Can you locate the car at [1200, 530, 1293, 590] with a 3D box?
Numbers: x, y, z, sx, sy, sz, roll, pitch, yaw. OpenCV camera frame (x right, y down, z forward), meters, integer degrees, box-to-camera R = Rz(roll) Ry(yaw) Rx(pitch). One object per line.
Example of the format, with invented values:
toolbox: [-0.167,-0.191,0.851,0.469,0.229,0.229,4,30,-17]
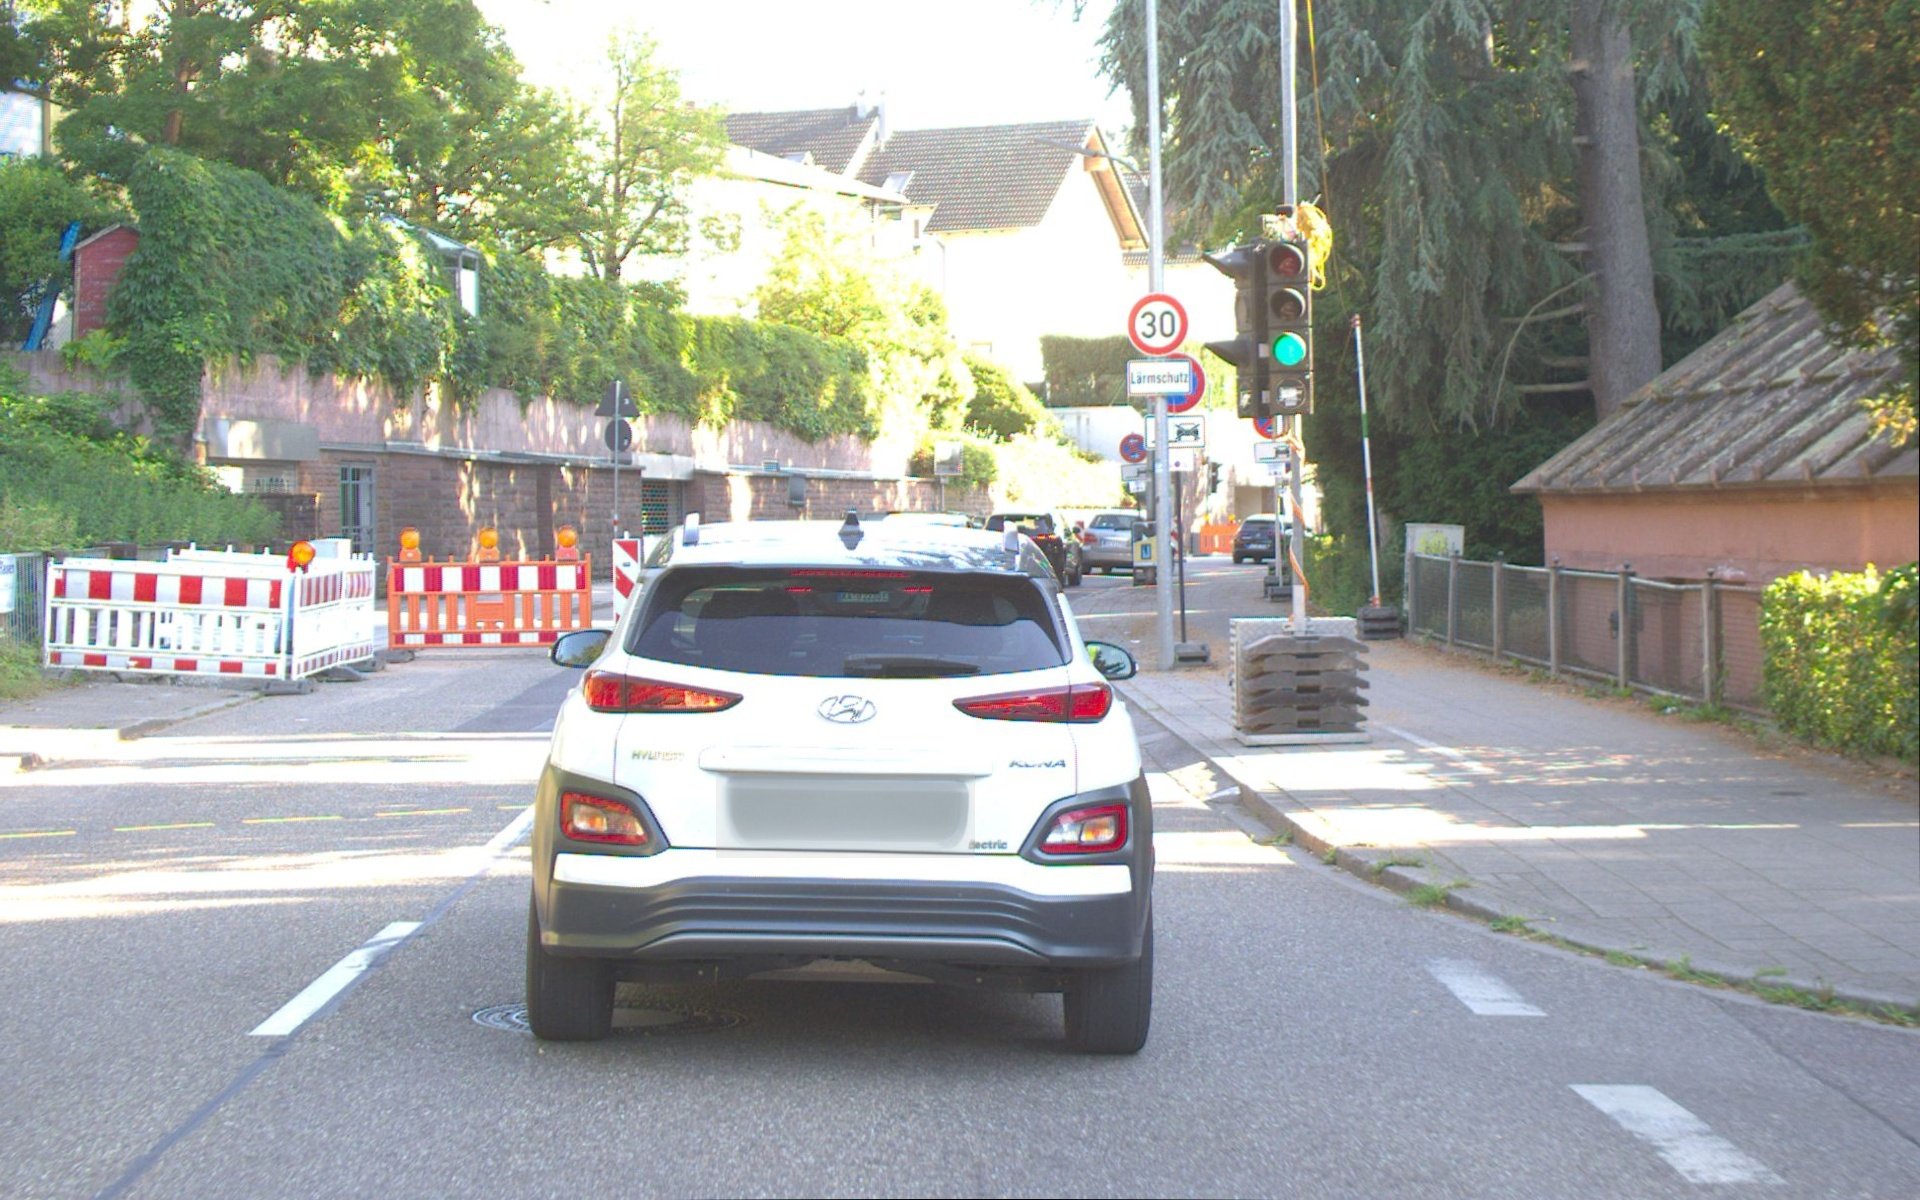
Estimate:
car: [8.385,-1.180,100.386,1.833,1.656,3.997,2,2,17]

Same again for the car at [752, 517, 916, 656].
car: [-1.403,-0.197,38.904,1.708,1.429,4.365,2,2,-2]

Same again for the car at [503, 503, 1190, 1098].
car: [-0.491,0.494,11.302,1.820,1.568,4.001,2,2,-5]

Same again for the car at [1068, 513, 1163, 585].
car: [3.826,-1.259,84.088,1.832,1.735,3.998,0,1,10]

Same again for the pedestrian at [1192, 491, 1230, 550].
pedestrian: [8.290,-2.623,113.538,1.080,1.905,0.840,2,1,16]

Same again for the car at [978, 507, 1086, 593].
car: [1.502,-1.041,70.104,1.832,1.656,3.999,2,2,6]

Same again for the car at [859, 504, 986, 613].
car: [-0.580,-0.663,52.184,1.805,1.532,4.000,2,2,-1]
